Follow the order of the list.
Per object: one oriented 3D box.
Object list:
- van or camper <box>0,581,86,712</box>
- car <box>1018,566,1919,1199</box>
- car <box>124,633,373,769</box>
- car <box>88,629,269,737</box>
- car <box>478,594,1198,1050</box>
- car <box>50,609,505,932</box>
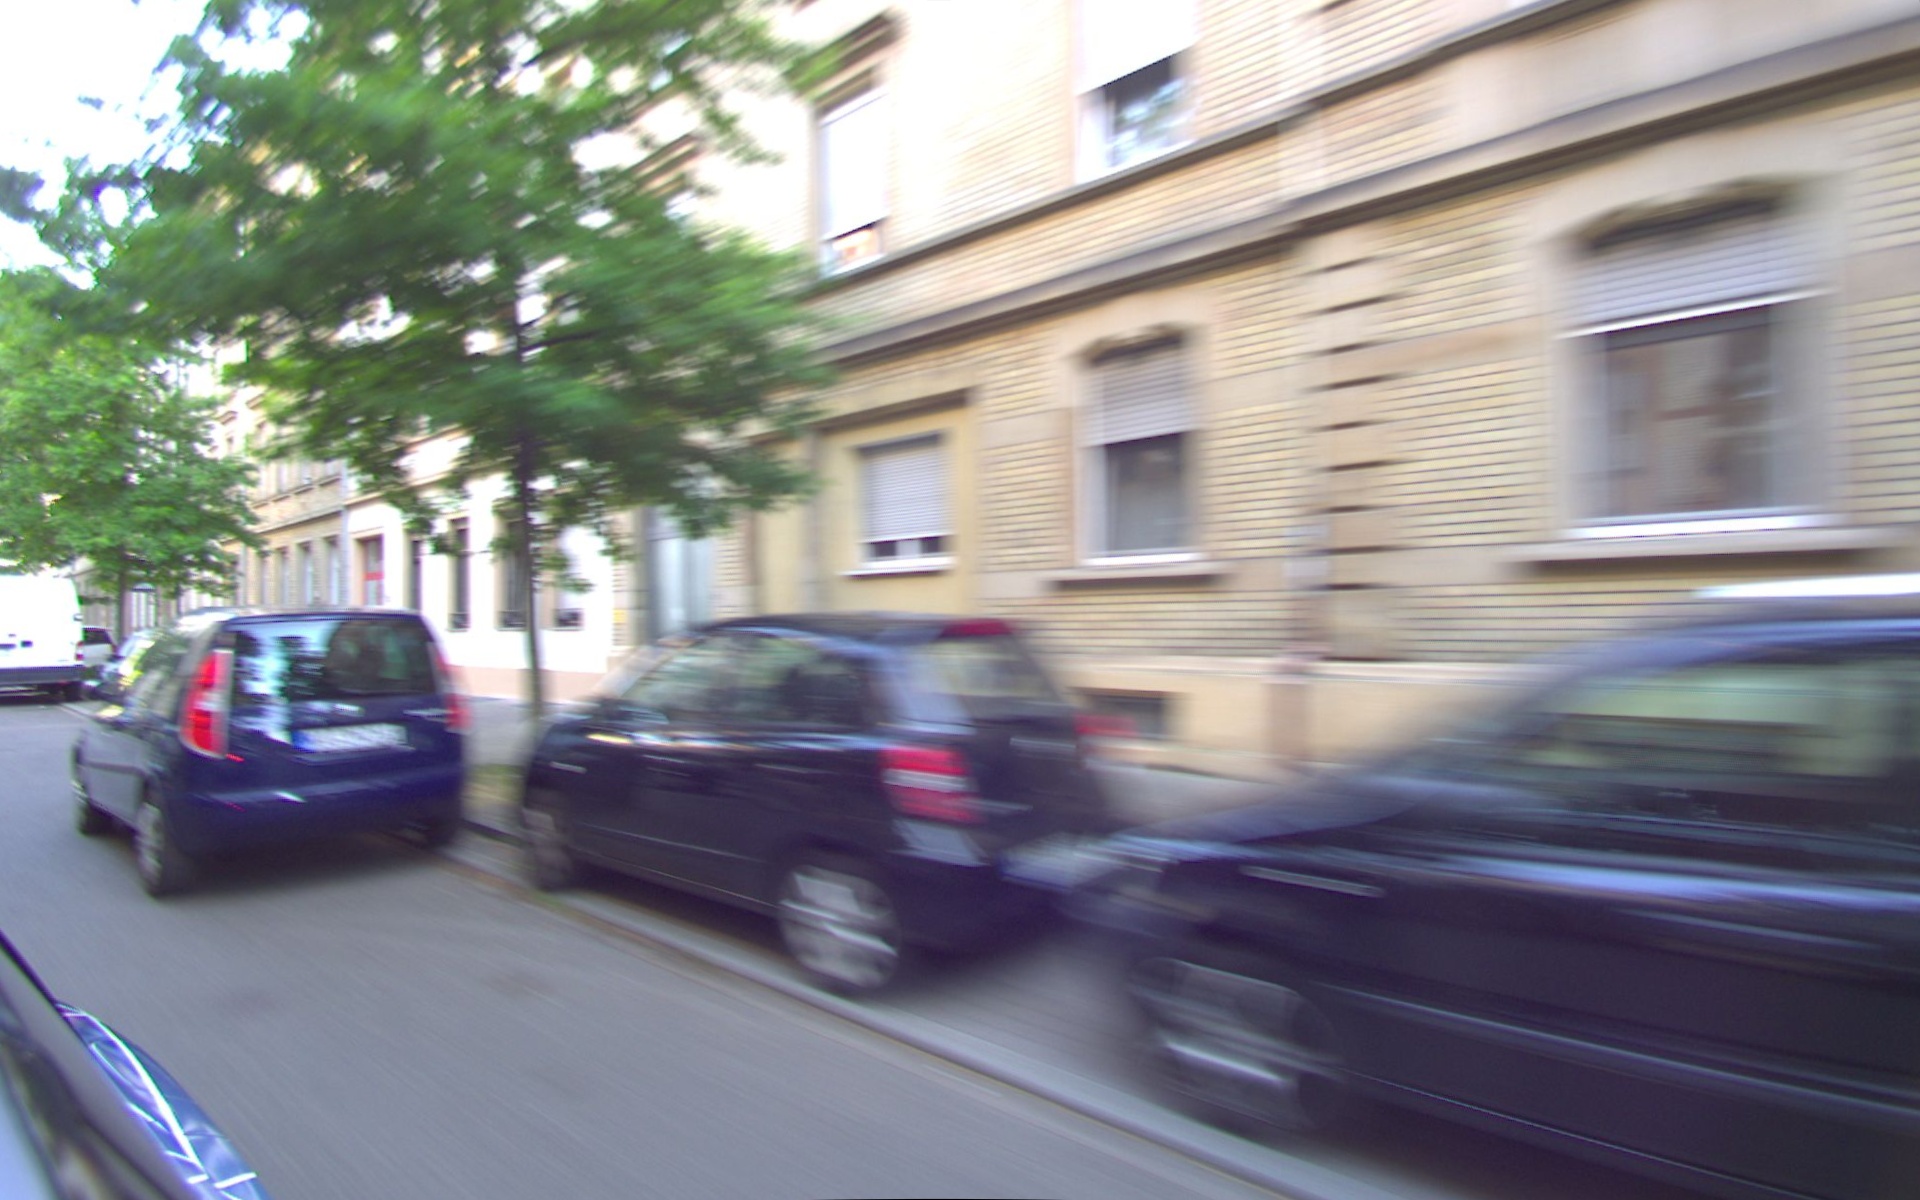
[{"bbox_3d":[-20.053,0.956,21.043,5.660,2.449,2.195,-2,-3,43],"label":"van or camper"},{"bbox_3d":[2.022,0.691,2.665,3.561,1.513,1.503,-2,-1,42],"label":"car"},{"bbox_3d":[-9.463,1.200,13.325,4.257,1.473,1.748,-2,-2,41],"label":"car"},{"bbox_3d":[-12.897,1.267,16.609,4.113,1.521,1.666,-2,-1,42],"label":"car"},{"bbox_3d":[-0.854,0.789,5.276,3.710,1.513,1.673,-2,0,42],"label":"car"},{"bbox_3d":[-4.937,0.907,7.058,4.219,1.585,1.705,-2,-2,43],"label":"car"}]
